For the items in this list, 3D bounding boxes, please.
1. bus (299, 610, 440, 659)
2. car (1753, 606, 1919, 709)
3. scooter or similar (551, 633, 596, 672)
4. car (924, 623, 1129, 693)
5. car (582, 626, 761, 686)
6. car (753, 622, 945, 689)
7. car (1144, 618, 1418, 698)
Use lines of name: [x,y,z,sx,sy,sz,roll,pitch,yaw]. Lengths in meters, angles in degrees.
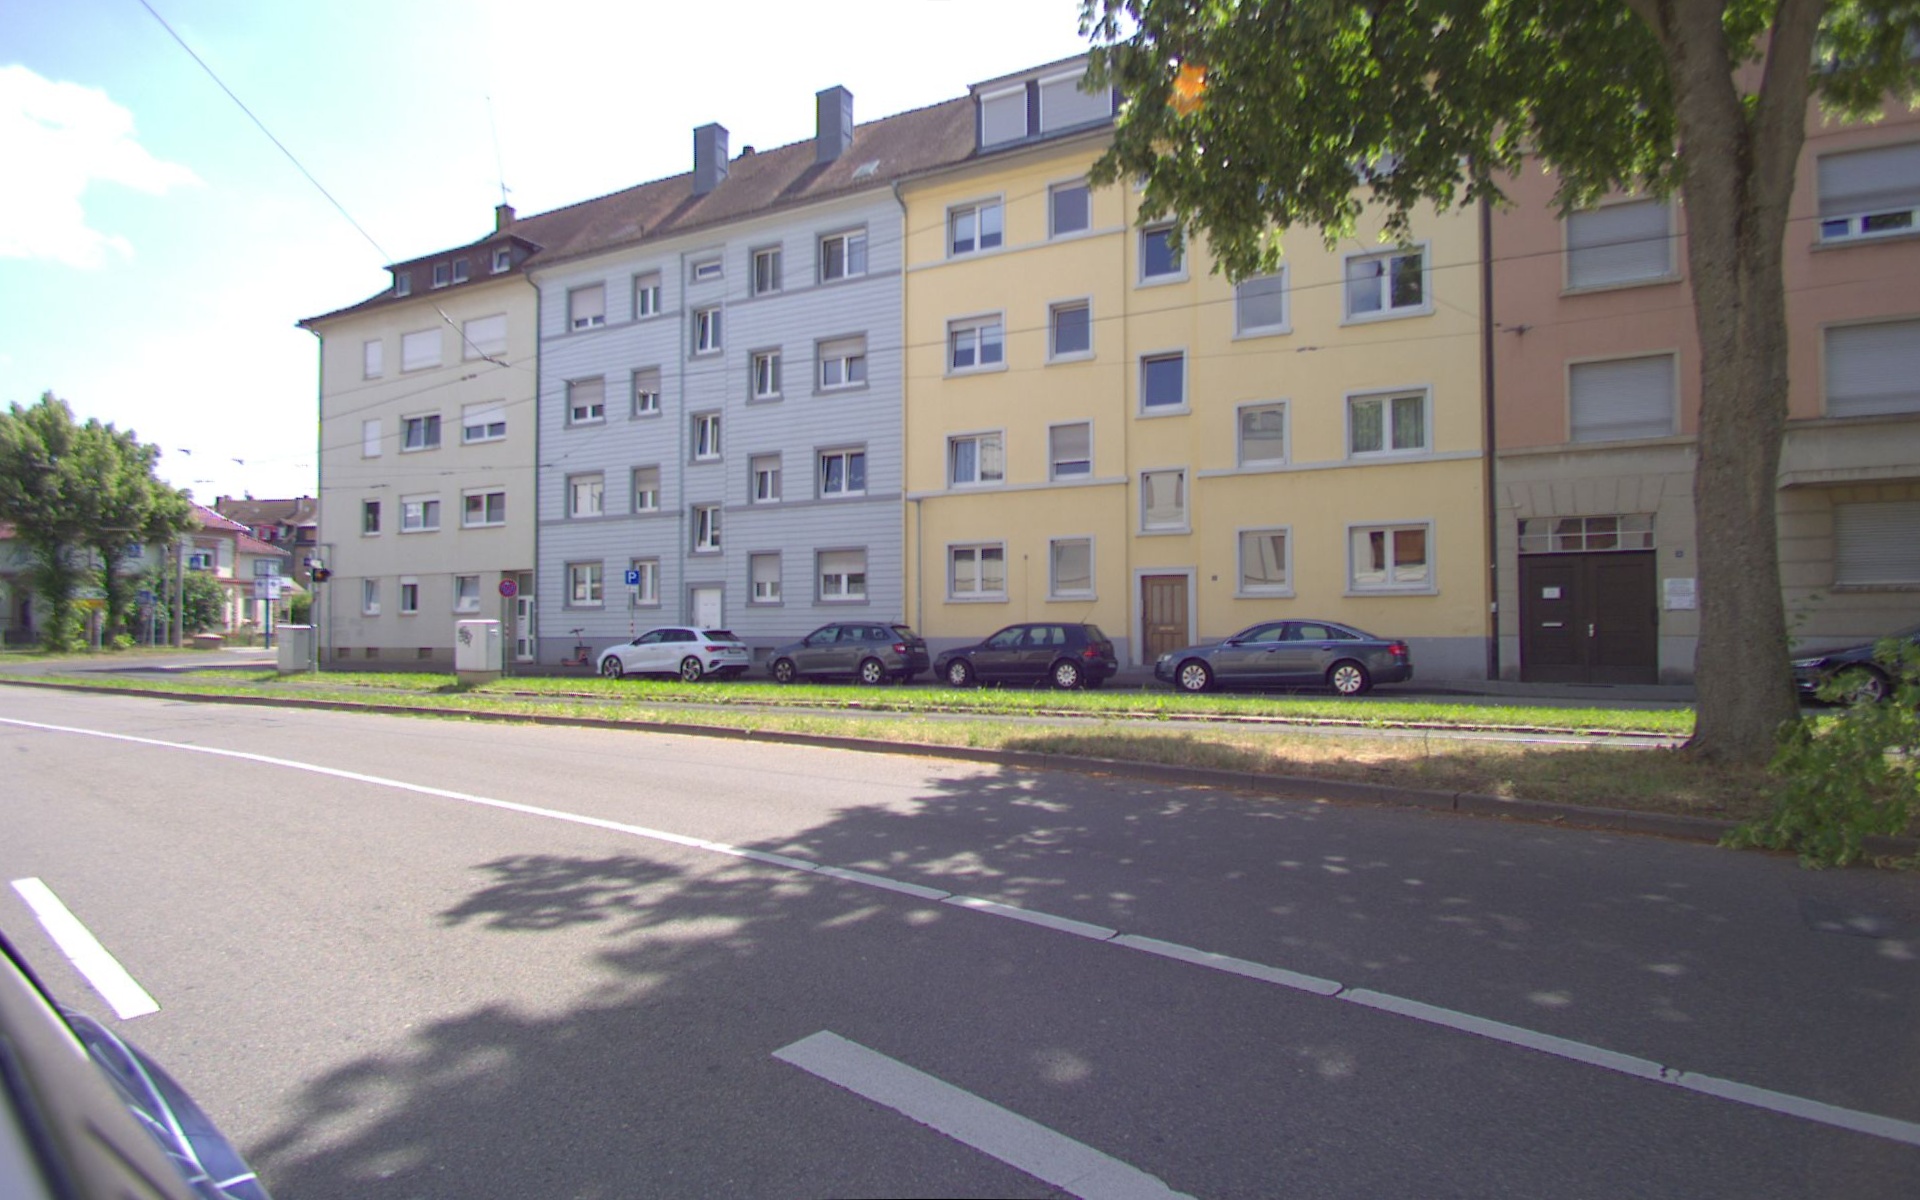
bus: [-42.811,2.555,74.017,2.678,3.322,10.826,-1,-3,9]
car: [15.190,0.865,15.167,4.838,1.502,1.916,-2,-4,27]
scooter or similar: [-12.573,1.696,32.926,1.314,1.232,0.634,-1,-1,27]
car: [1.447,1.260,22.231,4.121,1.411,1.820,-2,-3,27]
car: [-7.629,1.496,26.773,4.351,1.462,1.917,-1,-4,25]
car: [-2.707,1.344,24.620,4.301,1.516,1.917,-1,-3,25]
car: [6.216,1.126,19.722,4.840,1.409,1.915,-2,-4,28]
